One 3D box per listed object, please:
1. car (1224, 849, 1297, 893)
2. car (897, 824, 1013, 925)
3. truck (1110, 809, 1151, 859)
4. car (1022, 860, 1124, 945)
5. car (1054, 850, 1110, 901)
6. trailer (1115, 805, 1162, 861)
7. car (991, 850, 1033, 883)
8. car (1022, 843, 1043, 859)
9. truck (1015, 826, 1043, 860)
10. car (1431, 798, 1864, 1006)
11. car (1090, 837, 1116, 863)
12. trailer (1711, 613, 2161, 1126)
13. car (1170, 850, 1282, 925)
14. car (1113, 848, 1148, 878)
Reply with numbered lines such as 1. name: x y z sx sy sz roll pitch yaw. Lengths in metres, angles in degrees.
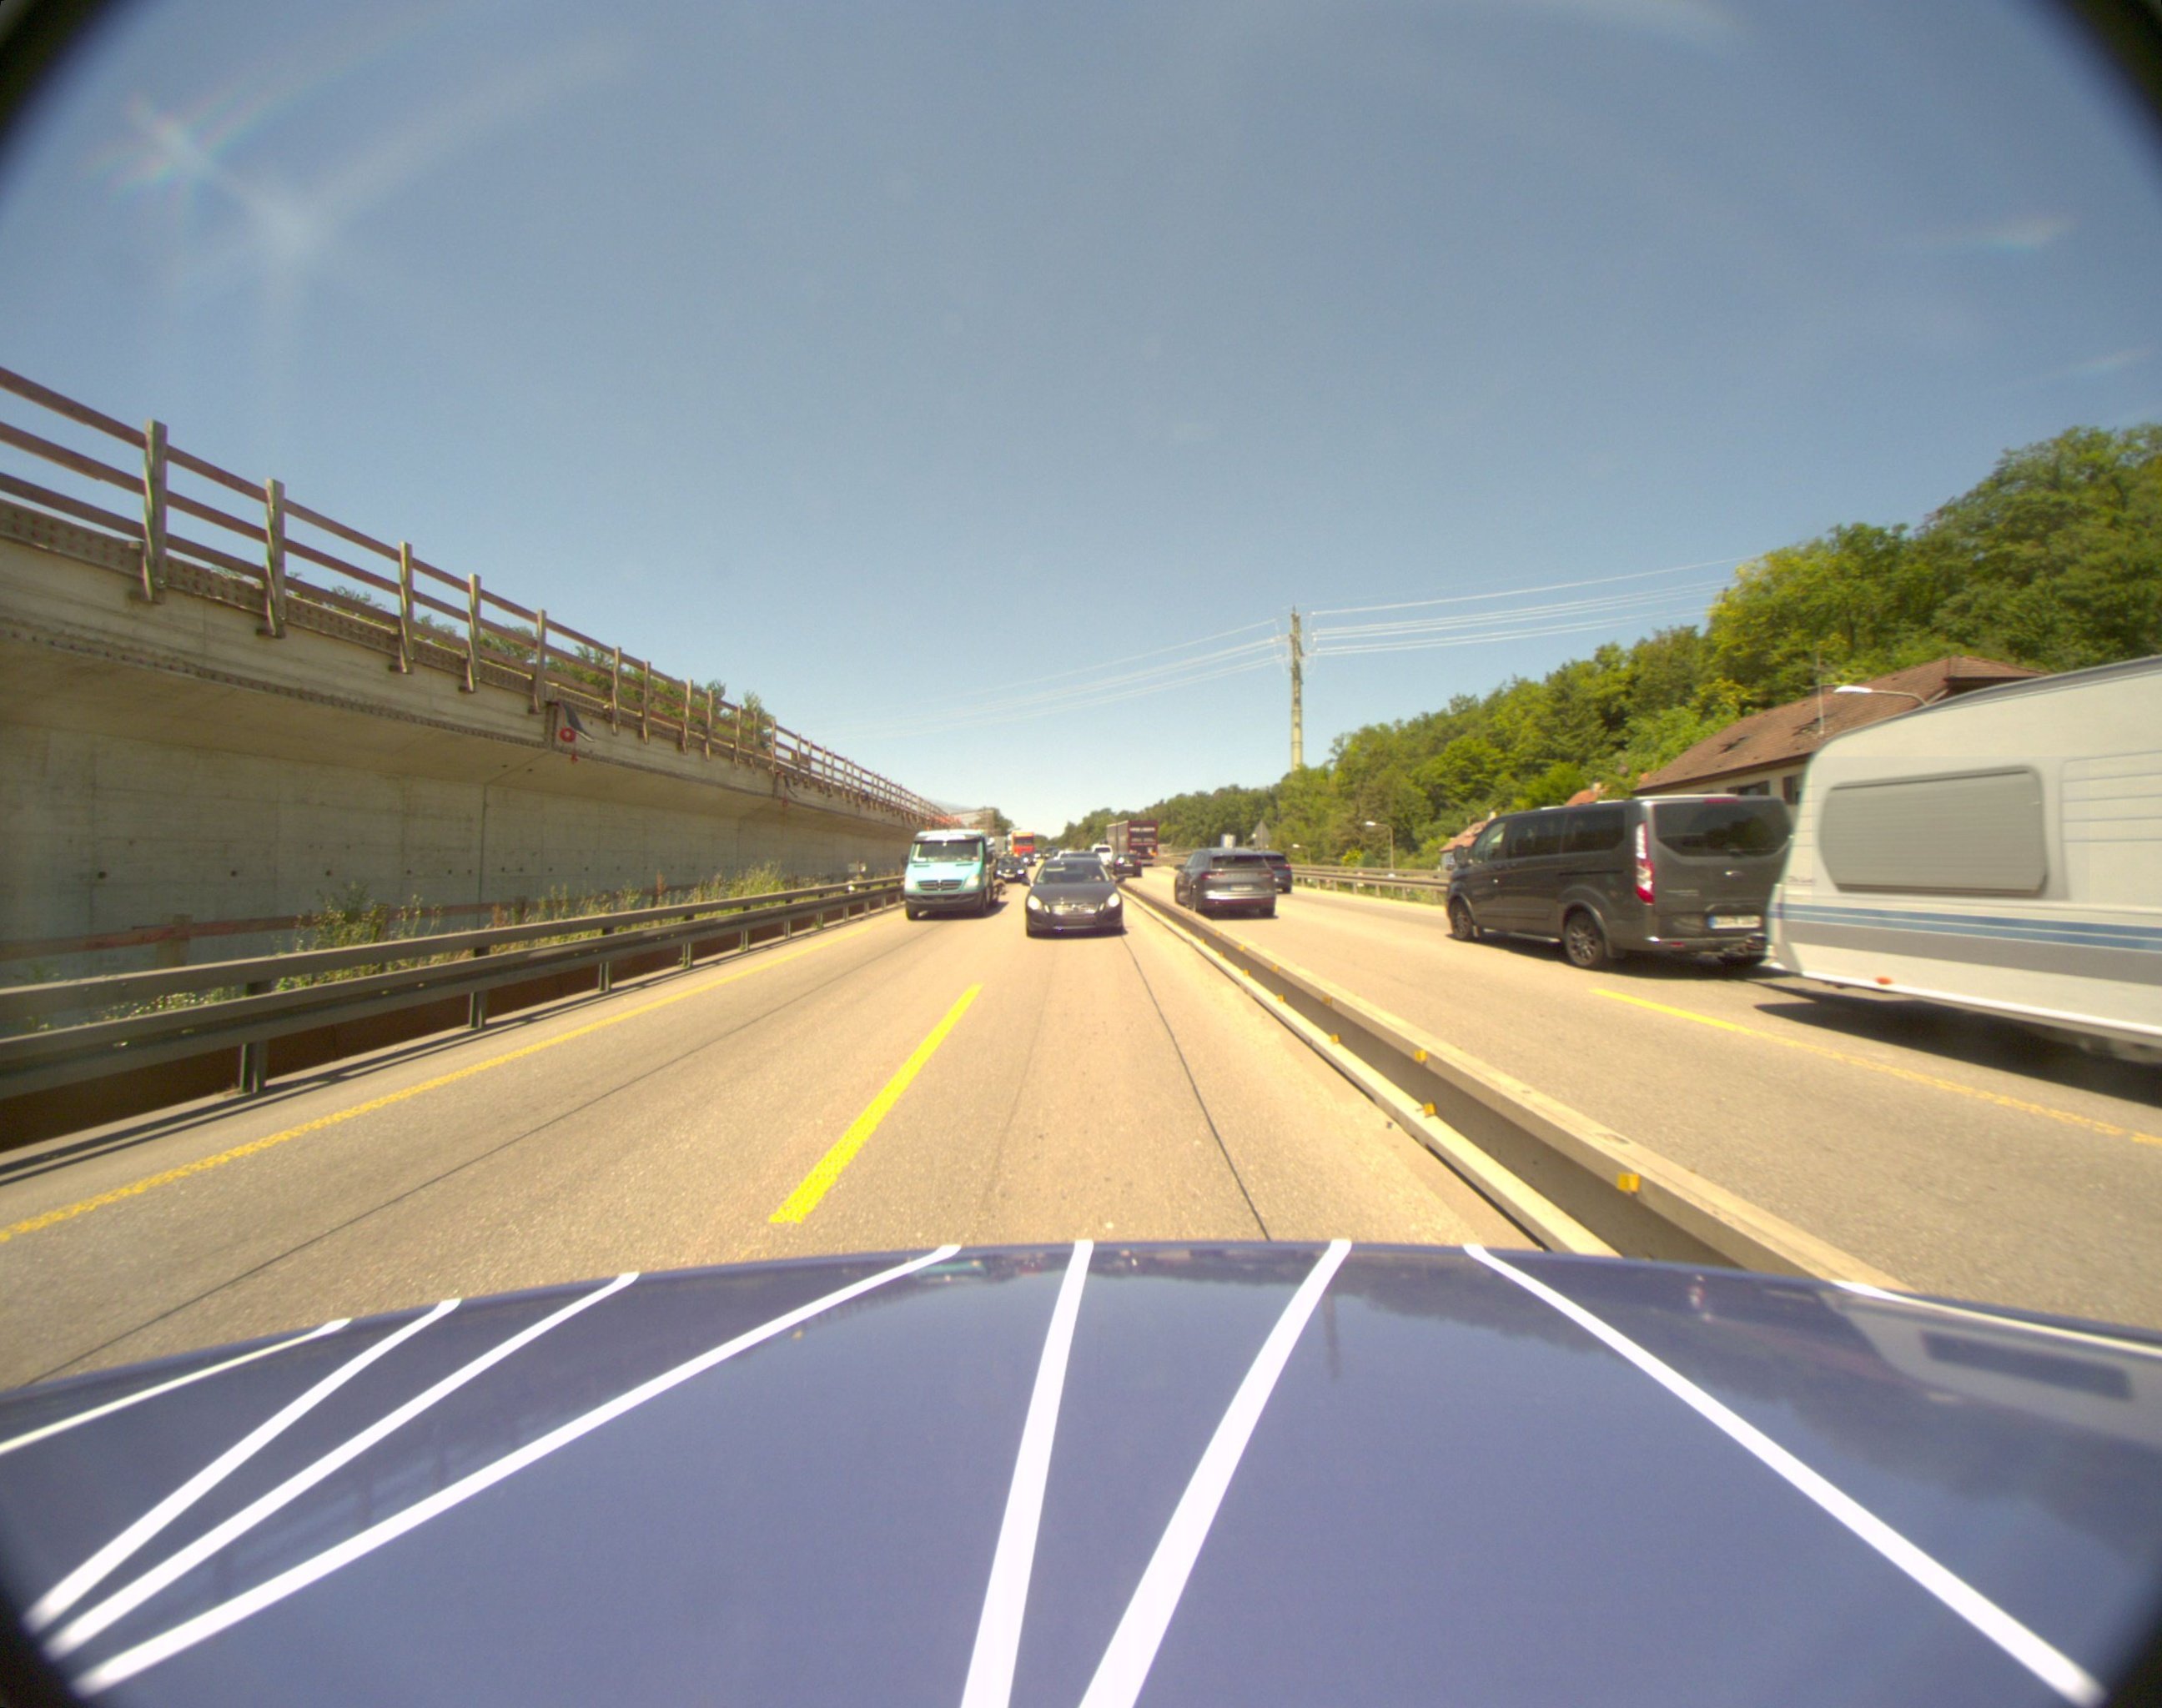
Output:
1. car: 6.542 0.576 28.025 1.630 1.506 3.855 -1 0 -2
2. car: -3.332 0.478 21.778 1.968 2.367 7.209 -2 0 1
3. truck: 5.012 -2.003 78.232 3.182 4.734 9.121 -2 1 -2
4. car: -0.156 0.868 15.531 1.793 1.440 4.297 -1 0 0
5. car: 0.042 0.736 28.231 1.859 1.650 3.999 -2 1 1
6. trailer: 5.175 -1.850 70.978 3.129 4.687 12.075 -2 1 -1
7. car: -3.714 0.641 41.319 1.859 1.650 3.999 -2 1 0
8. car: -4.791 -0.343 75.716 1.674 1.499 3.648 -2 1 2
9. truck: -6.579 -1.370 97.829 2.650 3.978 11.194 -2 1 0
10. car: 6.754 0.443 9.995 1.998 2.002 4.979 -2 1 1
11. car: 1.931 -0.394 68.237 1.860 2.138 5.564 -2 1 -3
12. trailer: 6.721 0.063 3.436 2.606 2.573 6.240 -1 1 1
13. car: 3.373 0.704 18.487 1.802 1.577 4.321 -1 0 -1
14. car: 2.963 0.505 46.055 1.859 1.608 3.999 -2 1 1
